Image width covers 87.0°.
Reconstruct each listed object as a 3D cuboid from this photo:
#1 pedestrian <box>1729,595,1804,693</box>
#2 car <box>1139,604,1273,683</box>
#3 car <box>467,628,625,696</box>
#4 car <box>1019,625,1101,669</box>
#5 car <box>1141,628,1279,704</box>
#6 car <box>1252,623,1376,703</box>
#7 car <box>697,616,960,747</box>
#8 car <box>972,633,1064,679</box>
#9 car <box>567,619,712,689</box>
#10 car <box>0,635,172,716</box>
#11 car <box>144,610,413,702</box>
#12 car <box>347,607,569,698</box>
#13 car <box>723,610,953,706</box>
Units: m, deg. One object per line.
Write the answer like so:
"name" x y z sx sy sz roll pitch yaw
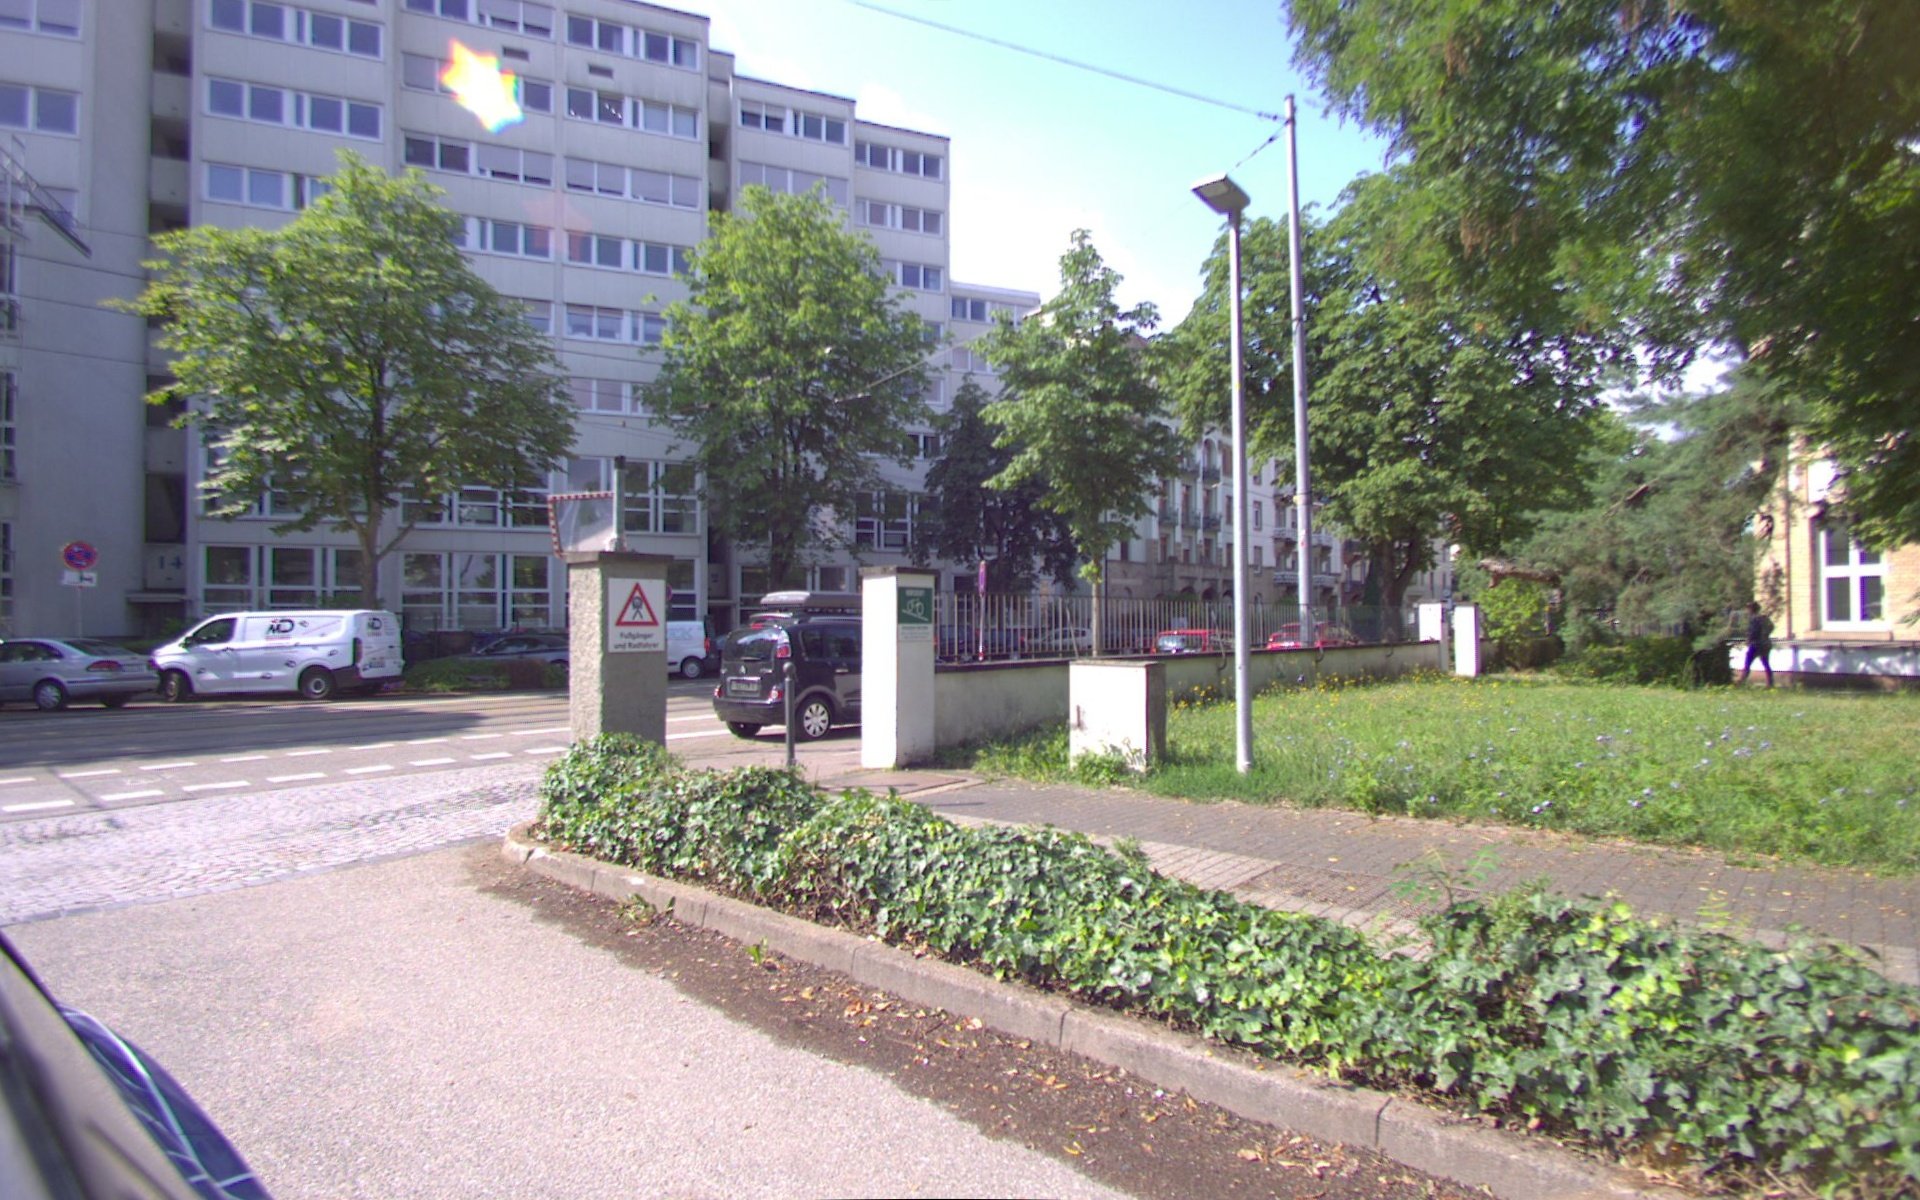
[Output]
"pedestrian" 14.879 0.788 18.685 0.794 1.690 0.775 -3 3 -22
"car" 5.735 0.954 23.400 1.672 1.497 3.235 -1 2 41
"car" -11.133 1.649 27.420 3.580 1.512 1.765 -2 2 -7
"car" 4.615 2.170 47.039 3.556 1.589 1.633 -5 2 2
"car" 5.861 1.487 23.513 1.678 1.624 3.536 -3 -3 40
"car" 10.099 1.707 28.699 1.966 1.718 3.945 1 4 42
"car" -1.787 1.080 14.483 1.678 1.624 3.536 -3 -3 40
"car" 2.323 2.264 40.987 3.605 1.538 1.583 1 5 2
"car" -9.367 1.563 29.823 3.702 1.724 1.886 -2 3 -4
"car" -18.071 1.466 19.943 3.729 1.487 1.726 -1 -2 -2
"car" -14.909 1.234 22.340 4.576 1.927 1.932 0 -4 0
"car" -12.233 1.257 24.890 4.509 2.012 1.904 0 3 0
"car" -2.424 1.130 21.282 1.945 1.787 4.772 -2 -2 40
